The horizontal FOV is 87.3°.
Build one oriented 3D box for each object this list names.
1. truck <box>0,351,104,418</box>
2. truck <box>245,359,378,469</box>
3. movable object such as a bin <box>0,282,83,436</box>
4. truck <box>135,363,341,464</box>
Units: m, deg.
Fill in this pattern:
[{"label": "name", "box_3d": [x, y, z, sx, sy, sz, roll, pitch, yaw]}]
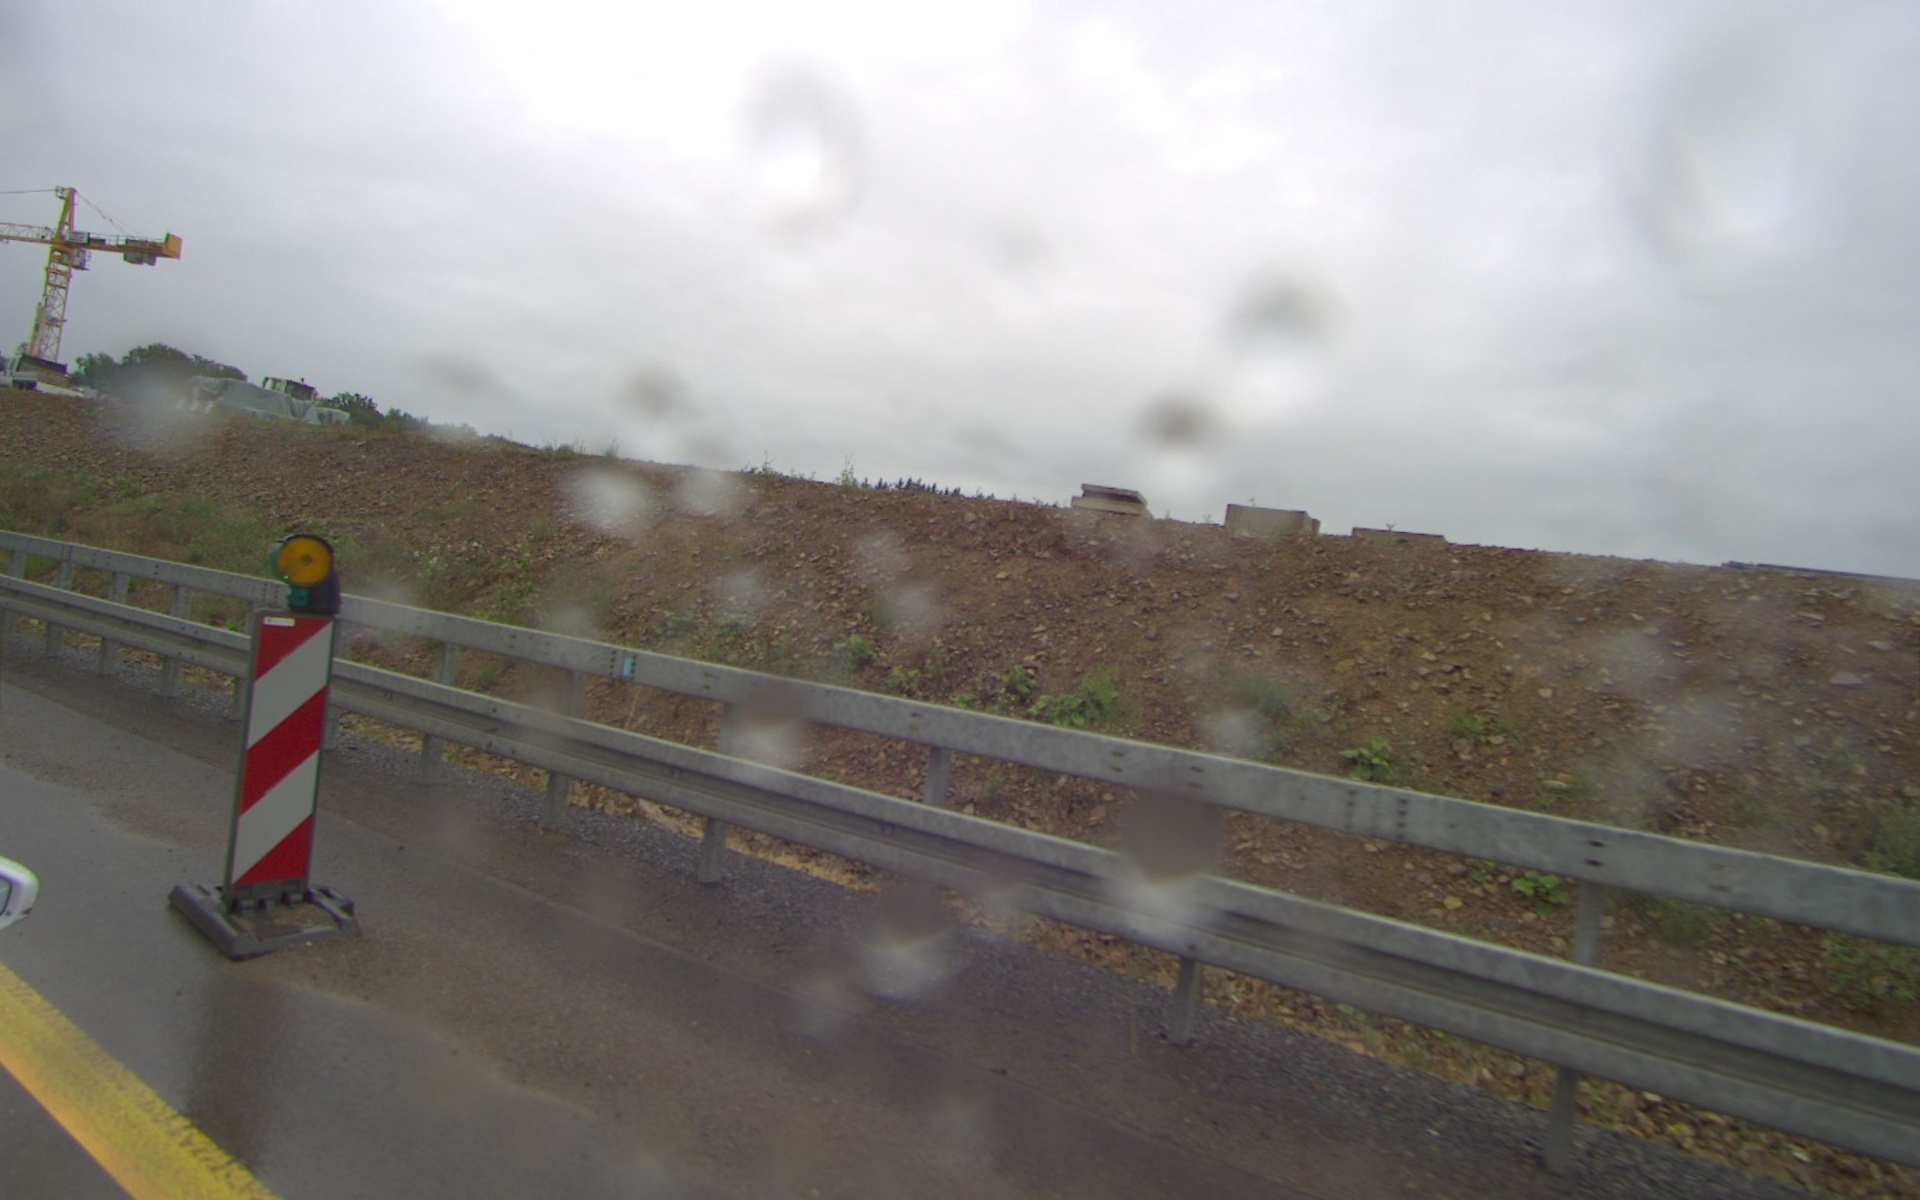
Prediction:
[{"label": "truck", "box_3d": [-46.791, -10.909, 51.243, 6.868, 2.585, 2.650, 7, -1, 31]}, {"label": "truck", "box_3d": [-29.491, -8.403, 45.696, 5.879, 4.269, 2.377, 7, 0, 31]}, {"label": "movable object such as a bin", "box_3d": [-79.099, -20.222, 86.108, 4.705, 10.972, 10.175, 7, 0, -44]}, {"label": "truck", "box_3d": [-28.334, -7.186, 39.341, 8.814, 2.909, 3.399, 7, -1, 33]}]
